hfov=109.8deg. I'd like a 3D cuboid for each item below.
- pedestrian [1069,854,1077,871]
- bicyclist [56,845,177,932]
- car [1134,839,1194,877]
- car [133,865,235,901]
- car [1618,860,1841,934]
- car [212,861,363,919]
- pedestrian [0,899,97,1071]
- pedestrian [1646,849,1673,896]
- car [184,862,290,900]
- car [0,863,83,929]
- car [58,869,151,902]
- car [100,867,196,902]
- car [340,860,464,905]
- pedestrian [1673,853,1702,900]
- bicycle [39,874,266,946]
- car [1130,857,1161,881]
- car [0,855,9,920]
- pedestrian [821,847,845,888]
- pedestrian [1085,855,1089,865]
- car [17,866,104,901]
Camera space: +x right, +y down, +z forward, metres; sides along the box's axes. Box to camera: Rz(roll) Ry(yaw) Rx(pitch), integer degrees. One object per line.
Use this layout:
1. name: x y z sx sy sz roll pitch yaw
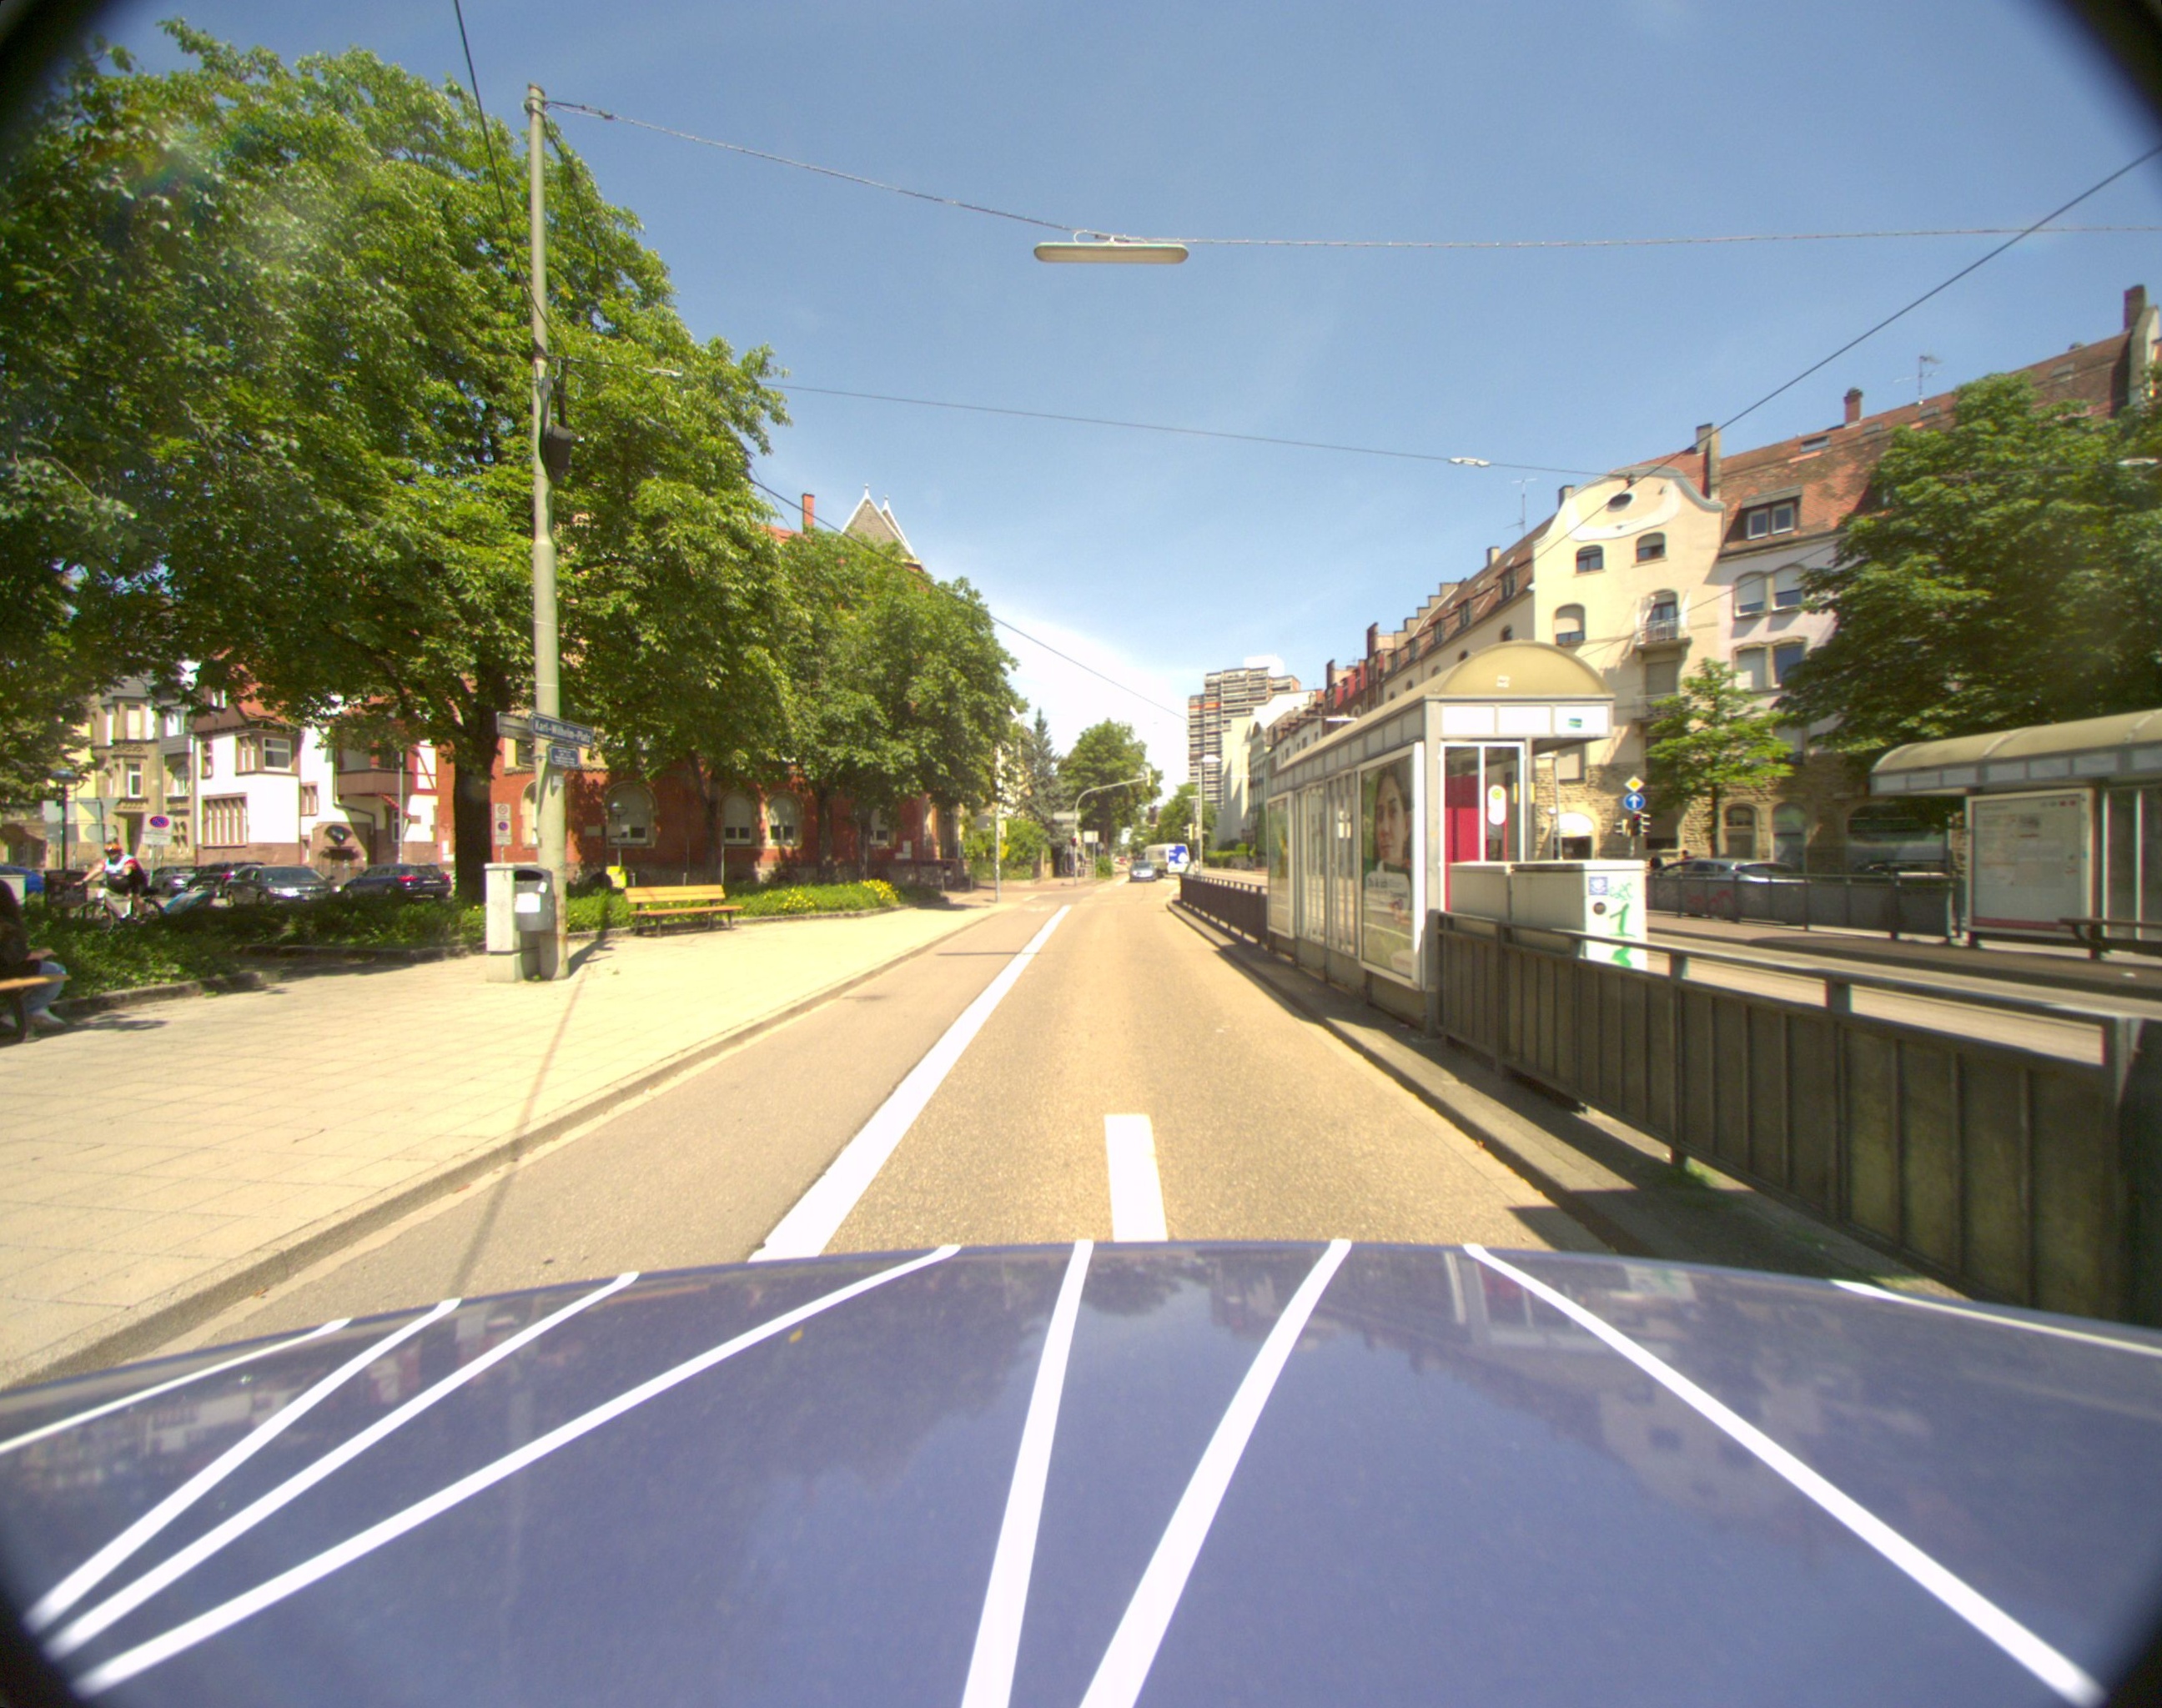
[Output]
1. pedestrian: -0.768 0.798 71.728 0.702 1.645 0.665 0 0 1
2. bicyclist: -20.016 0.684 15.808 0.874 1.686 1.253 -2 1 -11
3. car: 6.358 0.286 58.749 2.276 2.658 5.818 -3 1 -19
4. car: -44.150 1.435 37.409 4.299 1.608 1.941 -2 1 23
5. car: 14.838 0.903 17.724 1.812 1.386 3.999 -2 1 1
6. car: -25.124 1.130 24.045 4.513 1.608 1.941 -2 1 26
7. pedestrian: -7.743 0.910 5.415 0.566 1.136 0.725 0 1 -16
8. pedestrian: 20.138 0.642 26.468 0.594 1.637 0.474 0 0 1
9. car: -39.590 1.278 35.663 4.299 1.608 1.941 -2 1 23
10. car: -32.844 1.303 22.024 1.934 1.869 4.315 -2 1 23
11. car: -53.025 1.734 41.266 4.299 1.608 1.941 -2 1 23
12. car: -48.424 1.577 39.431 4.299 1.608 1.941 -2 1 23
13. car: -27.044 1.134 30.284 4.299 1.608 1.941 -2 1 23
14. pedestrian: 20.287 0.745 25.424 0.594 1.542 0.474 0 0 -1
15. bicycle: -20.206 1.137 16.770 0.955 1.256 3.741 -2 1 -11
16. car: 4.308 0.987 50.826 1.895 1.372 4.001 -2 1 5
17. car: -37.660 1.204 23.792 1.934 2.178 4.315 -2 1 23
18. pedestrian: -11.059 0.589 33.933 0.840 1.813 0.672 -1 1 -37
19. pedestrian: 1.003 1.037 128.606 0.686 1.732 0.660 -2 1 3
20. car: -59.179 1.716 44.076 4.299 1.862 1.941 -2 1 23
